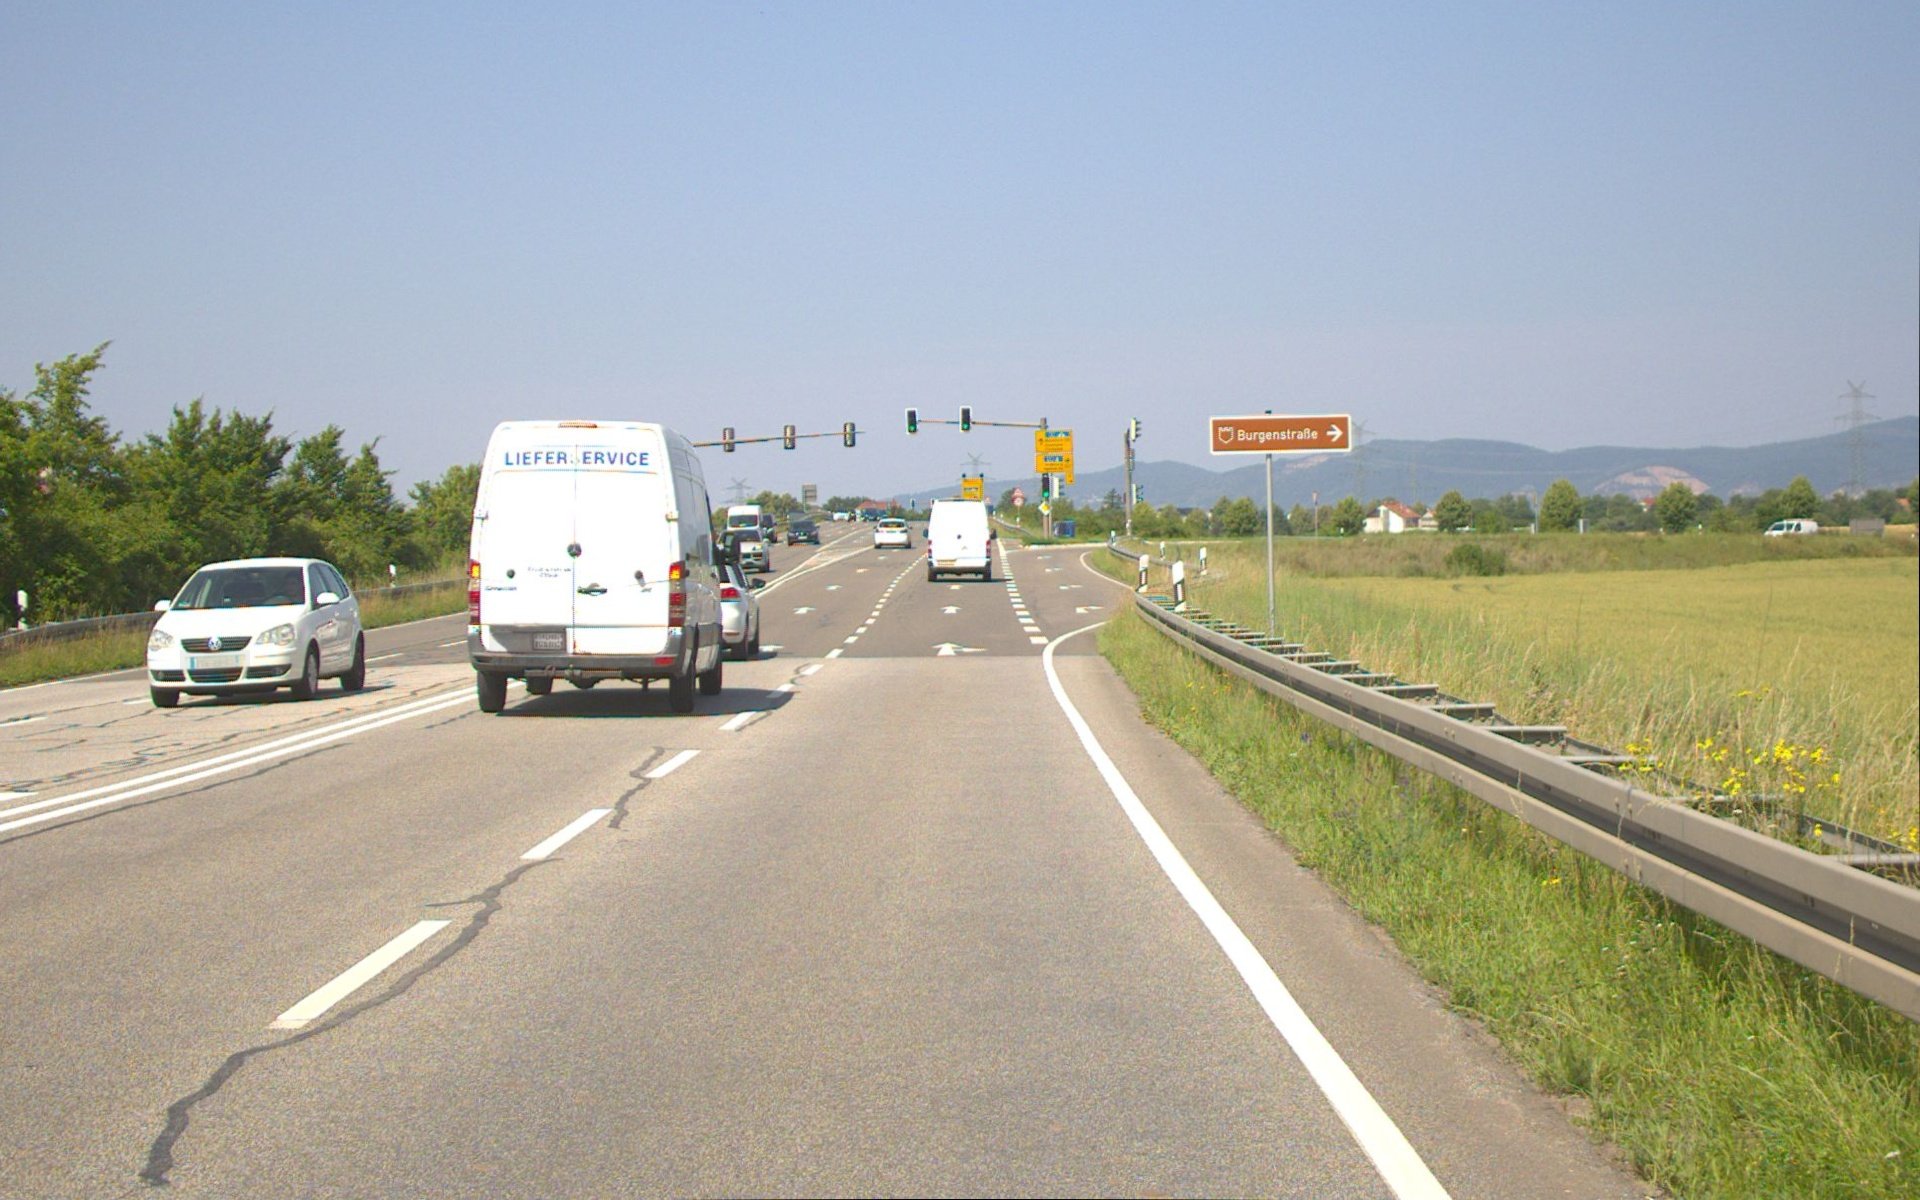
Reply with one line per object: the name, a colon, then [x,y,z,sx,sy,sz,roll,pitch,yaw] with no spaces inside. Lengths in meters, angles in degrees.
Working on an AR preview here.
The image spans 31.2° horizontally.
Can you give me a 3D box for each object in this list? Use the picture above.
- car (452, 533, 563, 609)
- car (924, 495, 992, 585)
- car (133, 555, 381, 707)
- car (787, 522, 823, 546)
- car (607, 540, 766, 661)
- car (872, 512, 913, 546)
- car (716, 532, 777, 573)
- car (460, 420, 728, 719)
car: [-10.857,-0.717,82.763,1.993,1.556,4.311,-3,3,1]
car: [-0.067,-1.881,107.987,1.993,2.686,4.970,-2,1,0]
car: [-7.312,0.285,36.141,1.749,1.437,4.082,-2,1,0]
car: [-9.259,-3.934,205.841,1.857,1.418,4.000,-1,1,1]
car: [-3.660,-0.027,46.600,1.799,1.503,4.196,-1,1,0]
car: [-3.447,-3.669,177.172,1.993,1.697,4.275,0,1,1]
car: [-7.925,-1.785,127.951,1.857,1.418,4.000,-2,1,1]
car: [-3.393,-0.295,32.910,2.039,2.611,5.741,0,1,-1]
